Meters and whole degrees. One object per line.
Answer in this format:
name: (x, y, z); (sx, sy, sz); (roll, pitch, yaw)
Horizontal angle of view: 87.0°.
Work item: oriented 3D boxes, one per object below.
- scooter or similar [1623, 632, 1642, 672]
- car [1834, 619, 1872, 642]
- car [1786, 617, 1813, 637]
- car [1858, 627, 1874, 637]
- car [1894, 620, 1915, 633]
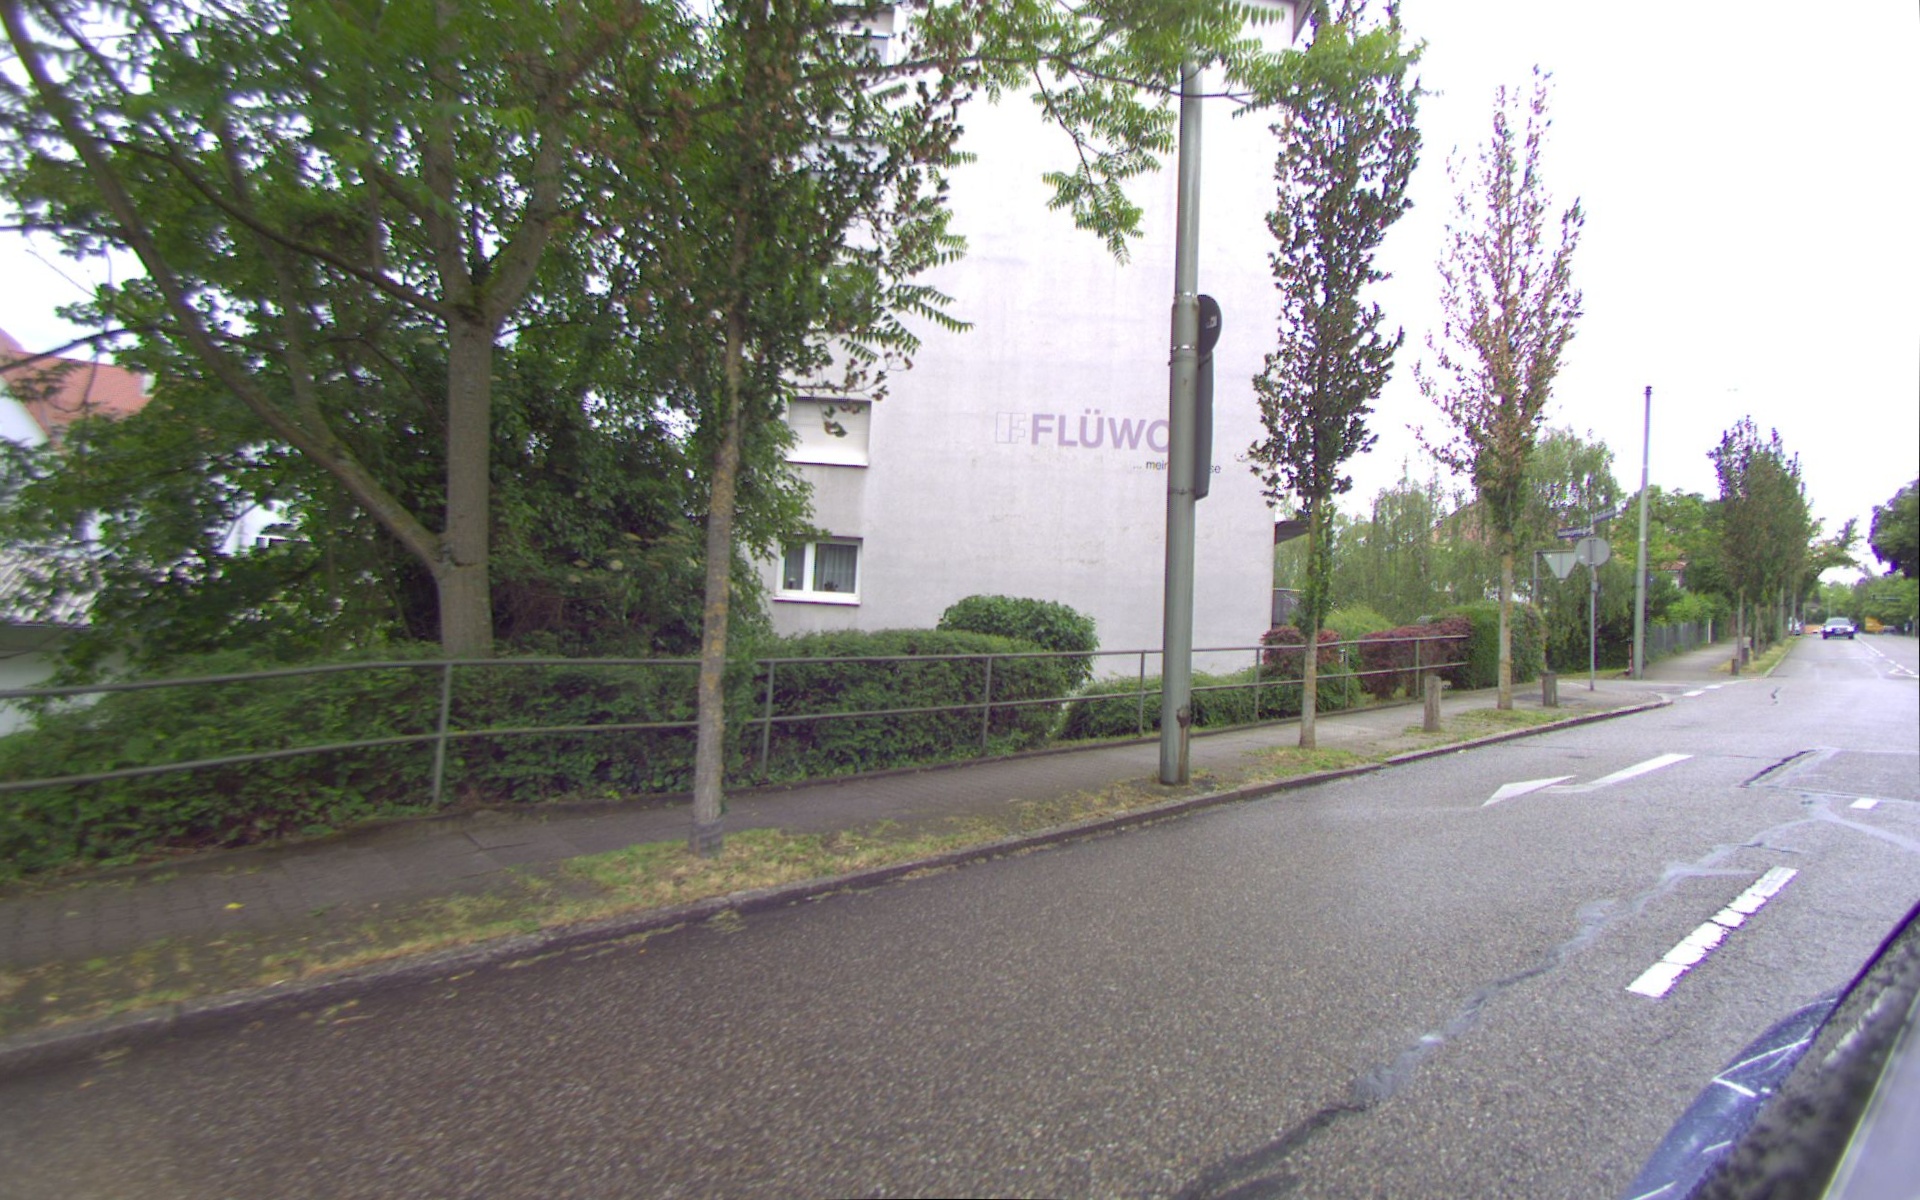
scooter or similar: (22.200, 1.703, 33.397); (0.342, 1.270, 1.249); (-4, -3, 40)
car: (69.818, 2.368, 79.140); (1.993, 1.706, 3.936); (-4, -4, 44)
car: (73.970, 2.359, 89.199); (1.822, 1.650, 3.942); (0, 0, 39)
car: (145.904, 5.140, 162.998); (1.761, 1.504, 3.940); (1, 1, 42)
car: (124.292, 3.501, 133.225); (1.744, 1.568, 3.860); (4, 2, 40)
